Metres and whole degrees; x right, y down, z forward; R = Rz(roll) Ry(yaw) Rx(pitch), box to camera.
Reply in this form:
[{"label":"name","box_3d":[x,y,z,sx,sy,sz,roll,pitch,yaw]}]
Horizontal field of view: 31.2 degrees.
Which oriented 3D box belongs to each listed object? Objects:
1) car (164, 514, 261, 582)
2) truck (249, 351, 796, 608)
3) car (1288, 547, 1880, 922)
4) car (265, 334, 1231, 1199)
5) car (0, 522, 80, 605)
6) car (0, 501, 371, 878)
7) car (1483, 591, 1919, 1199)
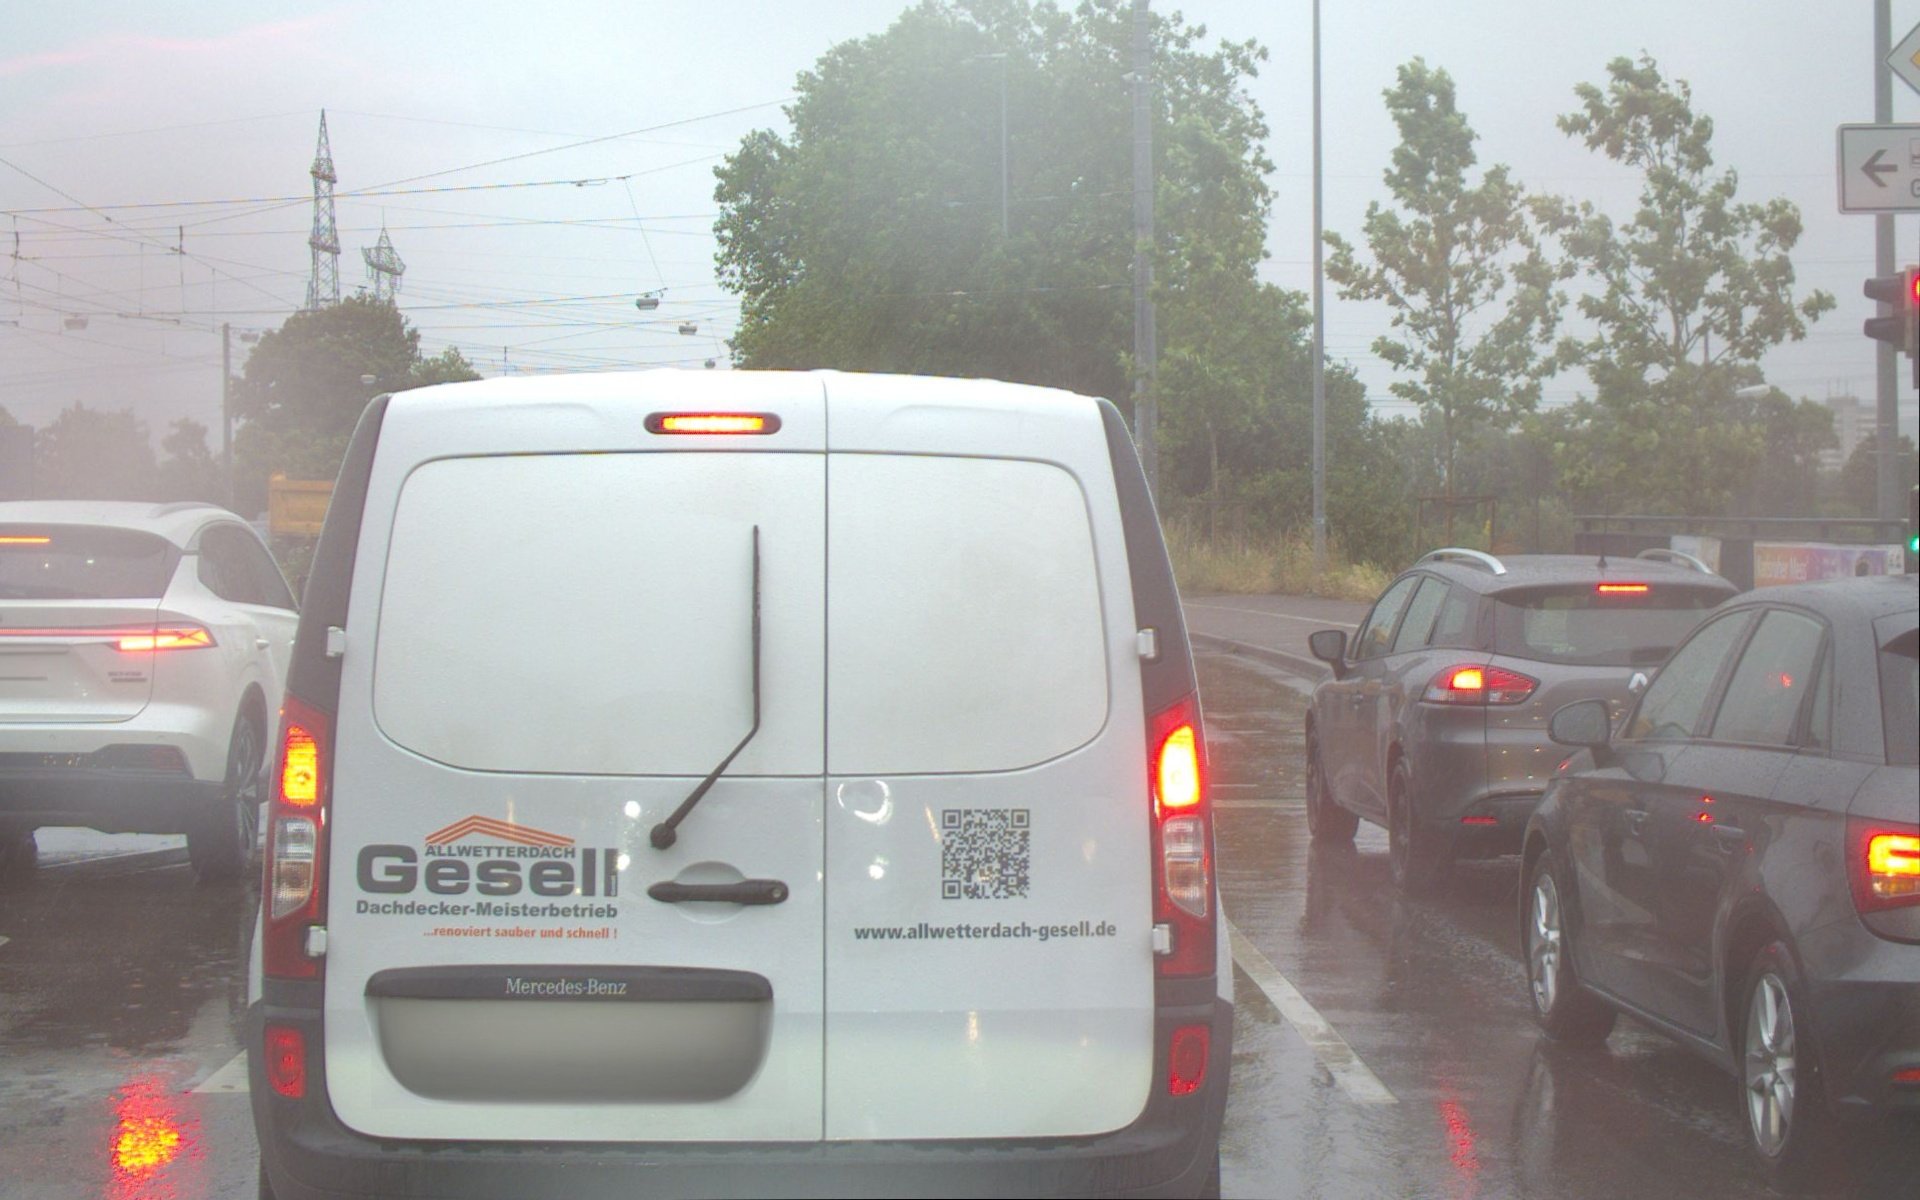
[{"label":"car","box_3d":[-22.574,-1.560,103.976,1.993,2.007,4.000,1,1,1]},{"label":"truck","box_3d":[-5.069,-1.345,41.262,2.637,2.806,7.133,1,1,31]},{"label":"car","box_3d":[2.655,0.506,15.520,1.859,1.424,3.808,1,1,-2]},{"label":"car","box_3d":[-0.367,0.437,7.600,1.566,1.782,4.000,0,1,-1]},{"label":"car","box_3d":[-21.434,-0.835,77.438,1.929,1.820,3.999,1,1,4]},{"label":"car","box_3d":[-3.955,0.307,16.177,1.728,1.530,4.298,1,1,-2]},{"label":"car","box_3d":[2.506,0.675,8.926,1.629,1.340,3.624,1,1,-2]}]
